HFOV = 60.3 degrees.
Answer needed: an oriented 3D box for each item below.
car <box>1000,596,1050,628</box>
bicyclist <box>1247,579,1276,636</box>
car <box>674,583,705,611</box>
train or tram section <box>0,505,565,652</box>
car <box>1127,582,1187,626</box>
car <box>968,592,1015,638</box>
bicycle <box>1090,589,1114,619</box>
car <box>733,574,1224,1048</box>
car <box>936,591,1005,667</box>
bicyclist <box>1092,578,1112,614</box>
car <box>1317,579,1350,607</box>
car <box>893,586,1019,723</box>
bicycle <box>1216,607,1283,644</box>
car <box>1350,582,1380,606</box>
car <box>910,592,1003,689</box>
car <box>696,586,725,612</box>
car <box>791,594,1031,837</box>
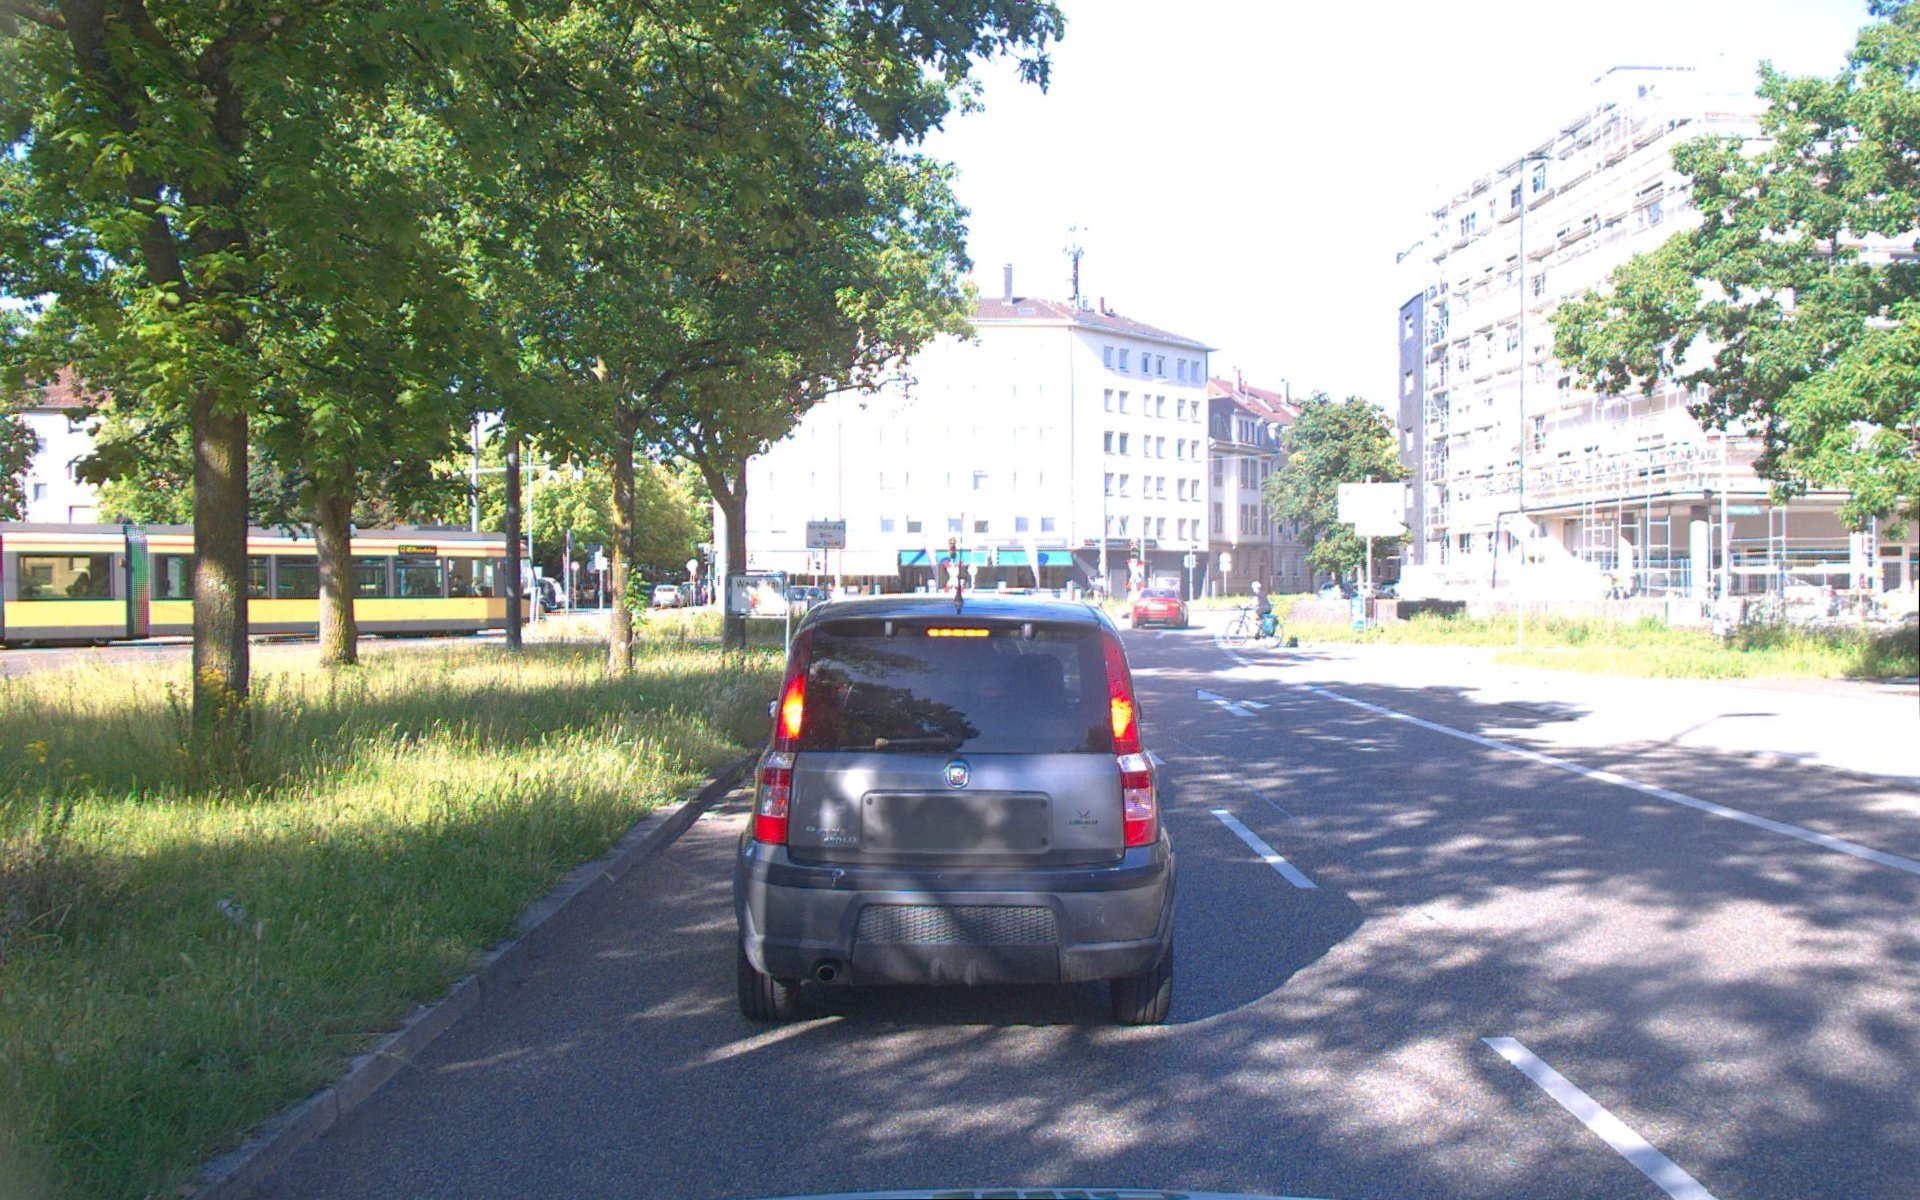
[{"bbox_3d":[2.287,0.409,57.692,1.118,1.083,2.723,0,1,17],"label":"car"},{"bbox_3d":[8.103,0.198,44.486,0.575,1.519,0.547,0,0,42],"label":"bicyclist"},{"bbox_3d":[-20.152,-0.227,123.273,1.954,2.049,3.996,0,1,-5],"label":"car"},{"bbox_3d":[-21.604,-0.635,48.067,20.624,3.836,3.257,-1,1,-41],"label":"train or tram section"},{"bbox_3d":[7.024,0.116,59.335,1.847,1.453,4.389,0,1,3],"label":"car"},{"bbox_3d":[0.921,0.439,49.602,1.328,1.304,2.875,0,1,-1],"label":"car"},{"bbox_3d":[5.907,0.174,69.107,0.694,1.219,2.519,1,0,-2],"label":"bicycle"},{"bbox_3d":[0.034,0.663,7.402,1.595,1.534,3.999,0,1,-1],"label":"car"},{"bbox_3d":[0.180,0.561,33.850,1.328,1.475,3.265,0,0,-1],"label":"car"},{"bbox_3d":[5.929,-0.168,69.092,0.726,1.463,0.845,1,0,-2],"label":"bicyclist"},{"bbox_3d":[20.507,-0.385,90.702,1.646,1.475,3.574,0,1,15],"label":"car"},{"bbox_3d":[-0.069,0.608,20.662,1.434,1.534,3.504,0,1,-1],"label":"car"},{"bbox_3d":[7.829,0.680,44.725,1.763,0.961,0.557,0,1,41],"label":"bicycle"},{"bbox_3d":[23.117,-0.329,94.369,1.495,1.337,3.289,0,1,17],"label":"car"},{"bbox_3d":[-0.077,0.614,27.229,1.434,1.449,3.381,0,1,-1],"label":"car"},{"bbox_3d":[-20.037,-0.094,132.993,1.954,2.049,3.996,0,1,-5],"label":"car"},{"bbox_3d":[-0.316,0.685,11.617,1.434,1.425,3.393,0,1,-1],"label":"car"}]
